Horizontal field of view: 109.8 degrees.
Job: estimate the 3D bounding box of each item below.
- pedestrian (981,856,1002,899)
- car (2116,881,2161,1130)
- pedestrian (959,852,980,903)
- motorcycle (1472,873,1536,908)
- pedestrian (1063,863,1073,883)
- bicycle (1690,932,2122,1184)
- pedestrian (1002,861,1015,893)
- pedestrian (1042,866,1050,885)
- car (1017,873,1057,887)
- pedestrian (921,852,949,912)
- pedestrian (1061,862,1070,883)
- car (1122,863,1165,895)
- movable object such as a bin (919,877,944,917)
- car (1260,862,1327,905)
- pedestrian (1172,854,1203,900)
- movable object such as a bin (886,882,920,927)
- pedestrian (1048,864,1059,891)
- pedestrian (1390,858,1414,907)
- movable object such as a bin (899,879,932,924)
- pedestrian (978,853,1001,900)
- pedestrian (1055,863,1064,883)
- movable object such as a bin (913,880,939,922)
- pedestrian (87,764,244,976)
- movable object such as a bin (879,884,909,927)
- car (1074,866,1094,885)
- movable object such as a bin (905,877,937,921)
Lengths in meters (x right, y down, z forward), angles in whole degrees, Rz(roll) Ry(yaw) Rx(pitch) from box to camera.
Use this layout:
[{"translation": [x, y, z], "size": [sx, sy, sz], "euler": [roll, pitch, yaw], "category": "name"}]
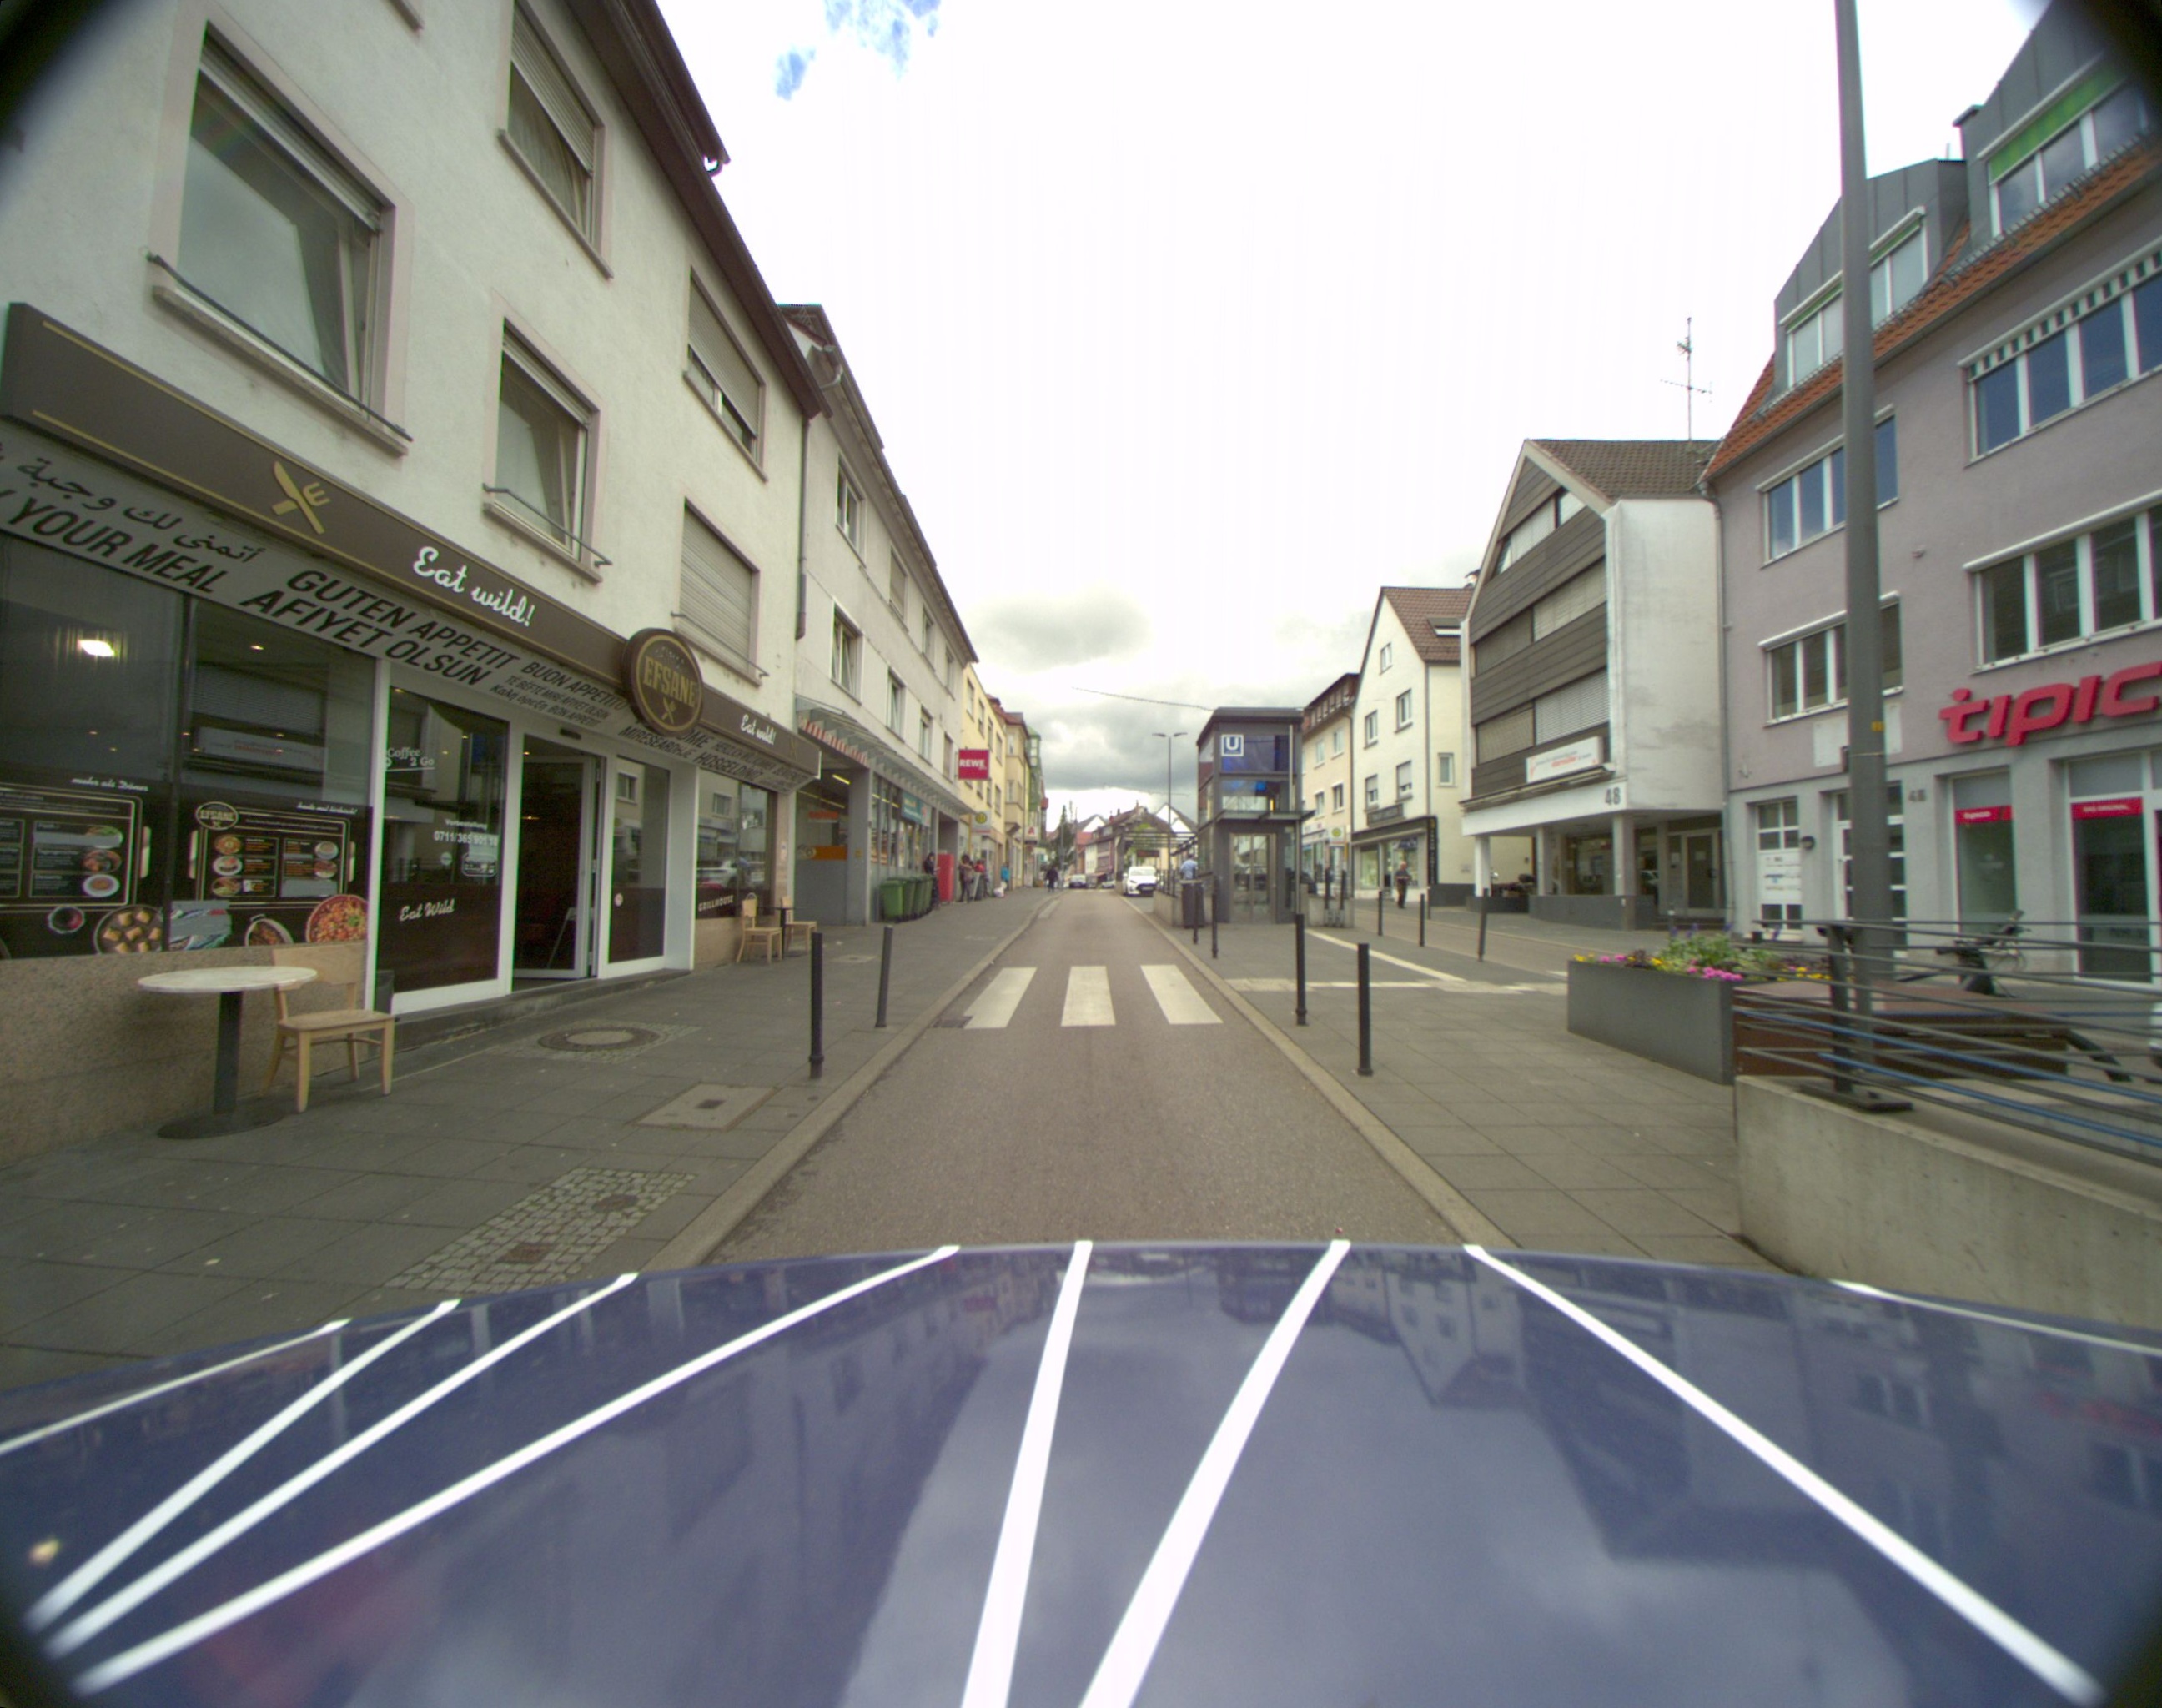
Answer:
[{"translation": [-3.671, 0.946, 31.095], "size": [0.608, 1.716, 0.626], "euler": [-2, 1, -29], "category": "pedestrian"}, {"translation": [7.658, 0.973, 2.939], "size": [1.683, 1.562, 4.122], "euler": [0, 0, 0], "category": "car"}, {"translation": [-3.868, 0.810, 26.377], "size": [0.627, 1.716, 0.607], "euler": [2, 1, -5], "category": "pedestrian"}, {"translation": [14.652, 1.259, 26.334], "size": [1.854, 1.134, 0.634], "euler": [-2, 1, 0], "category": "motorcycle"}, {"translation": [-1.054, 1.514, 61.243], "size": [0.657, 1.620, 0.743], "euler": [-2, 1, -6], "category": "pedestrian"}, {"translation": [4.317, 1.048, 4.039], "size": [1.782, 1.216, 0.459], "euler": [0, 1, 0], "category": "bicycle"}, {"translation": [-3.820, 1.209, 40.027], "size": [0.627, 1.620, 0.607], "euler": [-2, 1, -5], "category": "pedestrian"}, {"translation": [-3.078, 1.912, 67.024], "size": [0.657, 1.620, 0.743], "euler": [-2, 1, -1], "category": "pedestrian"}, {"translation": [-5.144, 3.109, 89.825], "size": [4.623, 1.570, 1.778], "euler": [-1, 0, -2], "category": "car"}, {"translation": [-4.267, 0.808, 22.156], "size": [0.628, 1.716, 0.606], "euler": [-2, 1, -22], "category": "pedestrian"}, {"translation": [-1.230, 1.482, 60.146], "size": [0.657, 1.620, 0.743], "euler": [-2, 1, -6], "category": "pedestrian"}, {"translation": [3.005, 1.204, 37.124], "size": [1.754, 1.452, 3.602], "euler": [-2, -2, 0], "category": "car"}, {"translation": [-4.037, 1.161, 20.521], "size": [0.560, 1.050, 0.559], "euler": [0, 0, 1], "category": "movable object such as a bin"}, {"translation": [8.911, 1.195, 32.175], "size": [1.683, 1.562, 4.122], "euler": [-2, 0, 1], "category": "car"}, {"translation": [4.363, 0.926, 31.237], "size": [1.097, 1.831, 0.931], "euler": [-2, 1, 1], "category": "pedestrian"}, {"translation": [-4.185, 1.187, 17.896], "size": [0.670, 1.024, 0.560], "euler": [0, 0, 1], "category": "movable object such as a bin"}, {"translation": [-1.701, 1.430, 47.237], "size": [0.657, 1.620, 0.743], "euler": [-2, 1, -1], "category": "pedestrian"}, {"translation": [11.609, 1.020, 27.495], "size": [0.592, 1.706, 0.513], "euler": [-2, 1, 1], "category": "pedestrian"}, {"translation": [-4.045, 1.154, 18.578], "size": [0.652, 1.074, 0.673], "euler": [0, 0, 1], "category": "movable object such as a bin"}, {"translation": [-3.635, 0.896, 30.176], "size": [0.629, 1.811, 0.605], "euler": [-2, 1, -34], "category": "pedestrian"}, {"translation": [-1.741, 1.537, 61.292], "size": [0.657, 1.620, 0.743], "euler": [-2, 1, -6], "category": "pedestrian"}, {"translation": [-4.059, 1.226, 19.937], "size": [0.569, 1.053, 0.574], "euler": [0, 0, 1], "category": "movable object such as a bin"}, {"translation": [-7.868, 0.128, 6.565], "size": [0.628, 1.715, 0.606], "euler": [-1, 0, -22], "category": "pedestrian"}, {"translation": [-4.256, 1.166, 17.308], "size": [0.568, 0.951, 0.498], "euler": [0, 0, 1], "category": "movable object such as a bin"}, {"translation": [0.259, 1.973, 70.463], "size": [1.741, 1.608, 3.843], "euler": [-2, 0, 0], "category": "car"}, {"translation": [-4.057, 1.135, 19.293], "size": [0.652, 1.074, 0.659], "euler": [0, 0, 1], "category": "movable object such as a bin"}]
